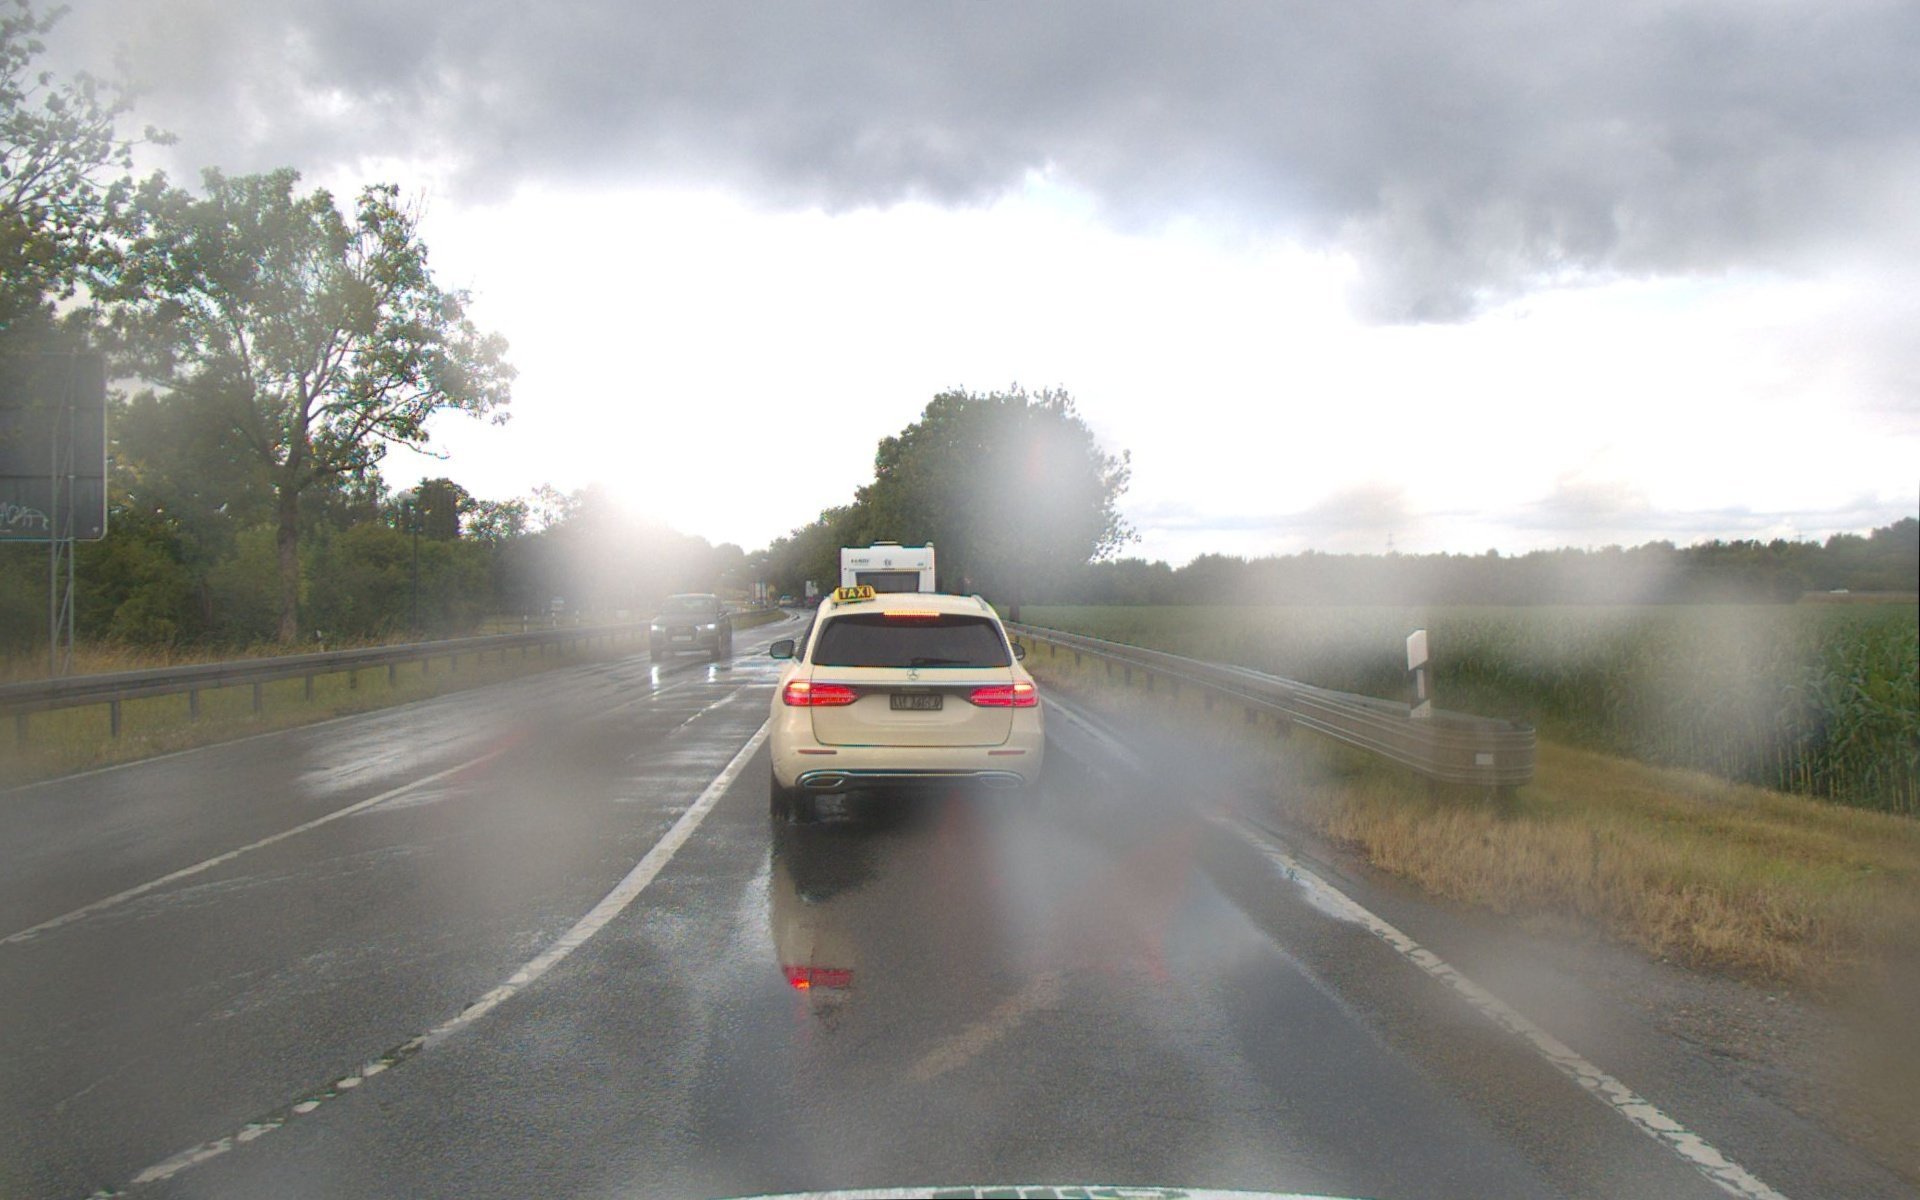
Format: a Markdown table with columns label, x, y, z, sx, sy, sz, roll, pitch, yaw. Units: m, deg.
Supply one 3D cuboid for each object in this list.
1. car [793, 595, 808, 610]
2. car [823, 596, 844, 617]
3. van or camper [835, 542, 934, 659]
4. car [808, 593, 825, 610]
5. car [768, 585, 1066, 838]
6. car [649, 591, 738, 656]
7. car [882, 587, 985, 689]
| label | x | y | z | sx | sy | sz | roll | pitch | yaw |
| --- | --- | --- | --- | --- | --- | --- | --- | --- | --- |
| car | -22.645 | 0.368 | 234.764 | 1.956 | 2.049 | 3.993 | 0 | 0 | -8 |
| car | -12.903 | 0.641 | 168.124 | 1.955 | 2.049 | 3.994 | 0 | 0 | -7 |
| van or camper | -1.884 | -0.019 | 41.578 | 2.303 | 2.727 | 5.765 | 0 | 0 | -2 |
| car | -17.448 | 0.138 | 201.158 | 1.954 | 2.049 | 3.996 | 0 | 0 | -5 |
| car | -0.305 | 0.662 | 12.012 | 1.788 | 1.511 | 4.144 | 0 | 0 | -1 |
| car | -6.904 | 0.568 | 43.172 | 1.733 | 1.550 | 4.140 | -2 | 0 | -2 |
| car | -0.492 | 0.582 | 27.644 | 1.595 | 1.556 | 3.930 | -1 | 0 | -2 |
